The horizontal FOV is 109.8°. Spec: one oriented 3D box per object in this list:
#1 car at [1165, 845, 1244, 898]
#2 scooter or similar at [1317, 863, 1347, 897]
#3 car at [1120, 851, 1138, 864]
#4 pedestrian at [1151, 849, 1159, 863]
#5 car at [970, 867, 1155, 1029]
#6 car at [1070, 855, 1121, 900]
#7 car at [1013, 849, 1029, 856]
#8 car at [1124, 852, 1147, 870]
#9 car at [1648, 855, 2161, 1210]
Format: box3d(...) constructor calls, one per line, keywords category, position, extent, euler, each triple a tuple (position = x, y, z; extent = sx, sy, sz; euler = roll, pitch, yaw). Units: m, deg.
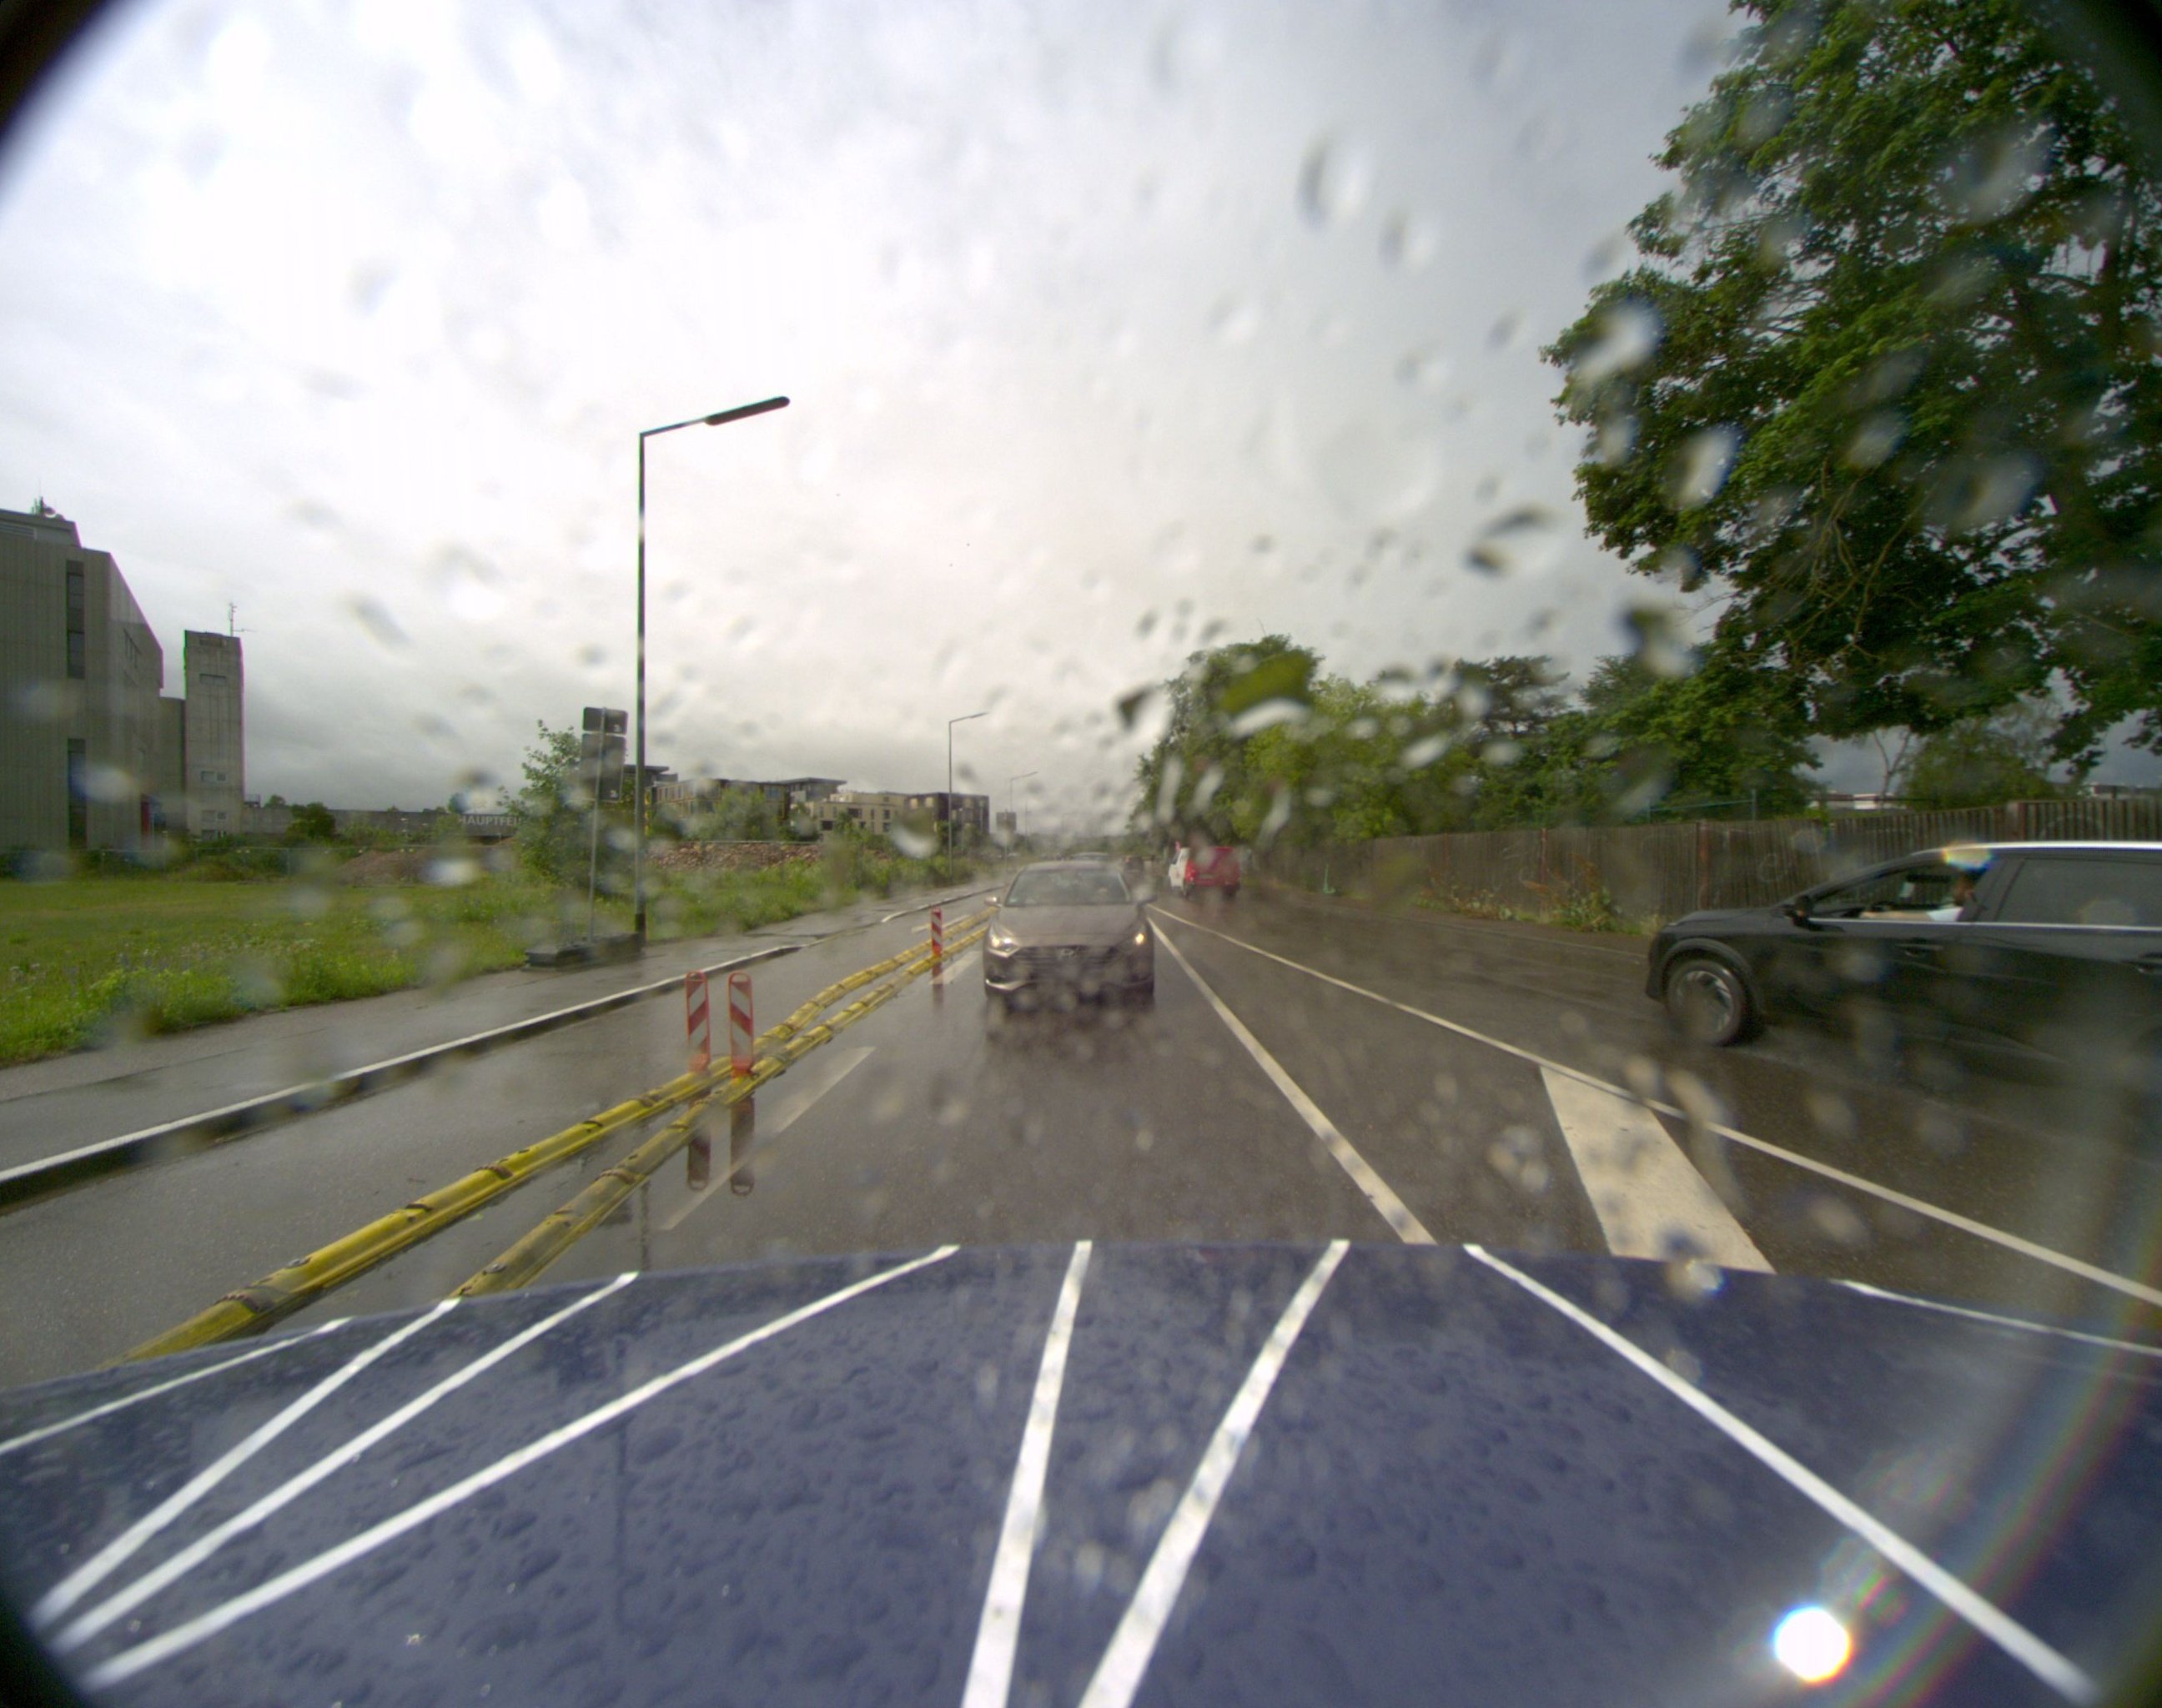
box3d(category="car", position=(4.663, 0.616, 29.474), extent=(1.893, 1.865, 5.130), euler=(0, 0, -4))
box3d(category="scooter or similar", position=(8.971, 0.921, 27.174), extent=(0.564, 1.156, 1.207), euler=(0, 1, -6))
box3d(category="car", position=(6.282, 0.500, 99.176), extent=(1.784, 1.543, 4.429), euler=(2, 0, 9))
box3d(category="pedestrian", position=(9.284, 0.228, 95.289), extent=(0.841, 1.759, 0.644), euler=(0, 1, 1))
box3d(category="car", position=(-0.201, 0.911, 9.041), extent=(1.724, 1.423, 3.817), euler=(-1, 0, -1))
box3d(category="car", position=(0.517, 0.819, 28.138), extent=(1.734, 1.539, 3.770), euler=(-1, 0, 0))
box3d(category="car", position=(-17.066, -0.342, 215.509), extent=(4.008, 2.002, 1.994), euler=(-1, 0, -43))
box3d(category="car", position=(4.830, 0.600, 68.011), extent=(1.879, 1.474, 4.177), euler=(0, 1, 2))
box3d(category="car", position=(5.880, 0.860, 4.498), extent=(1.739, 1.654, 4.107), euler=(1, 0, -5))
